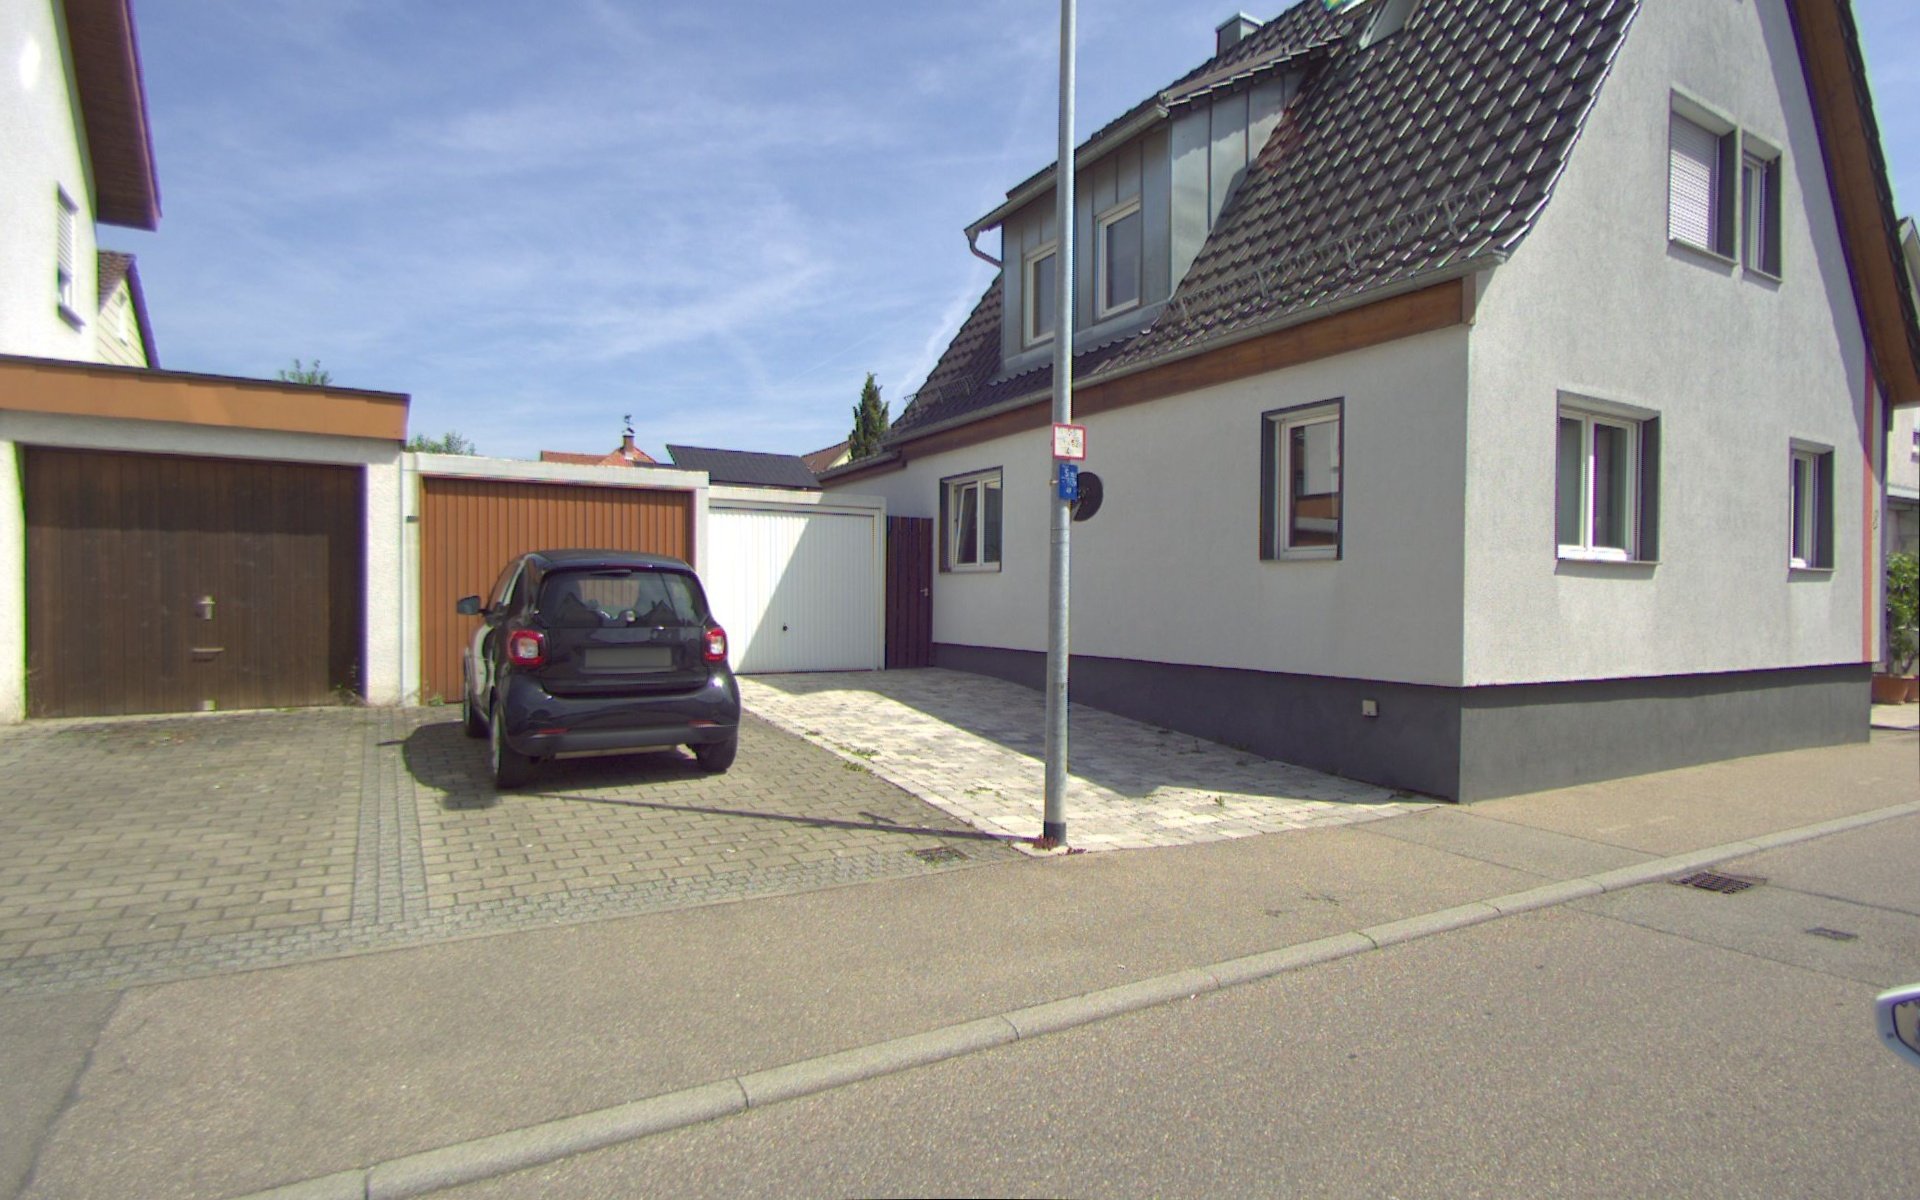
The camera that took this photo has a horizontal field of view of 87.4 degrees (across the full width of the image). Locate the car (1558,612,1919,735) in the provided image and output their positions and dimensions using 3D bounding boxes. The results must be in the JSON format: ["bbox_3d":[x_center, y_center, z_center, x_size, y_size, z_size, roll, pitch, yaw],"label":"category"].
[{"bbox_3d":[11.104,0.950,14.633,1.680,1.501,3.823,1,0,-27],"label":"car"}]

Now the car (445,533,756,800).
[{"bbox_3d":[-2.987,0.341,7.953,1.695,1.598,3.093,1,4,-32],"label":"car"}]
